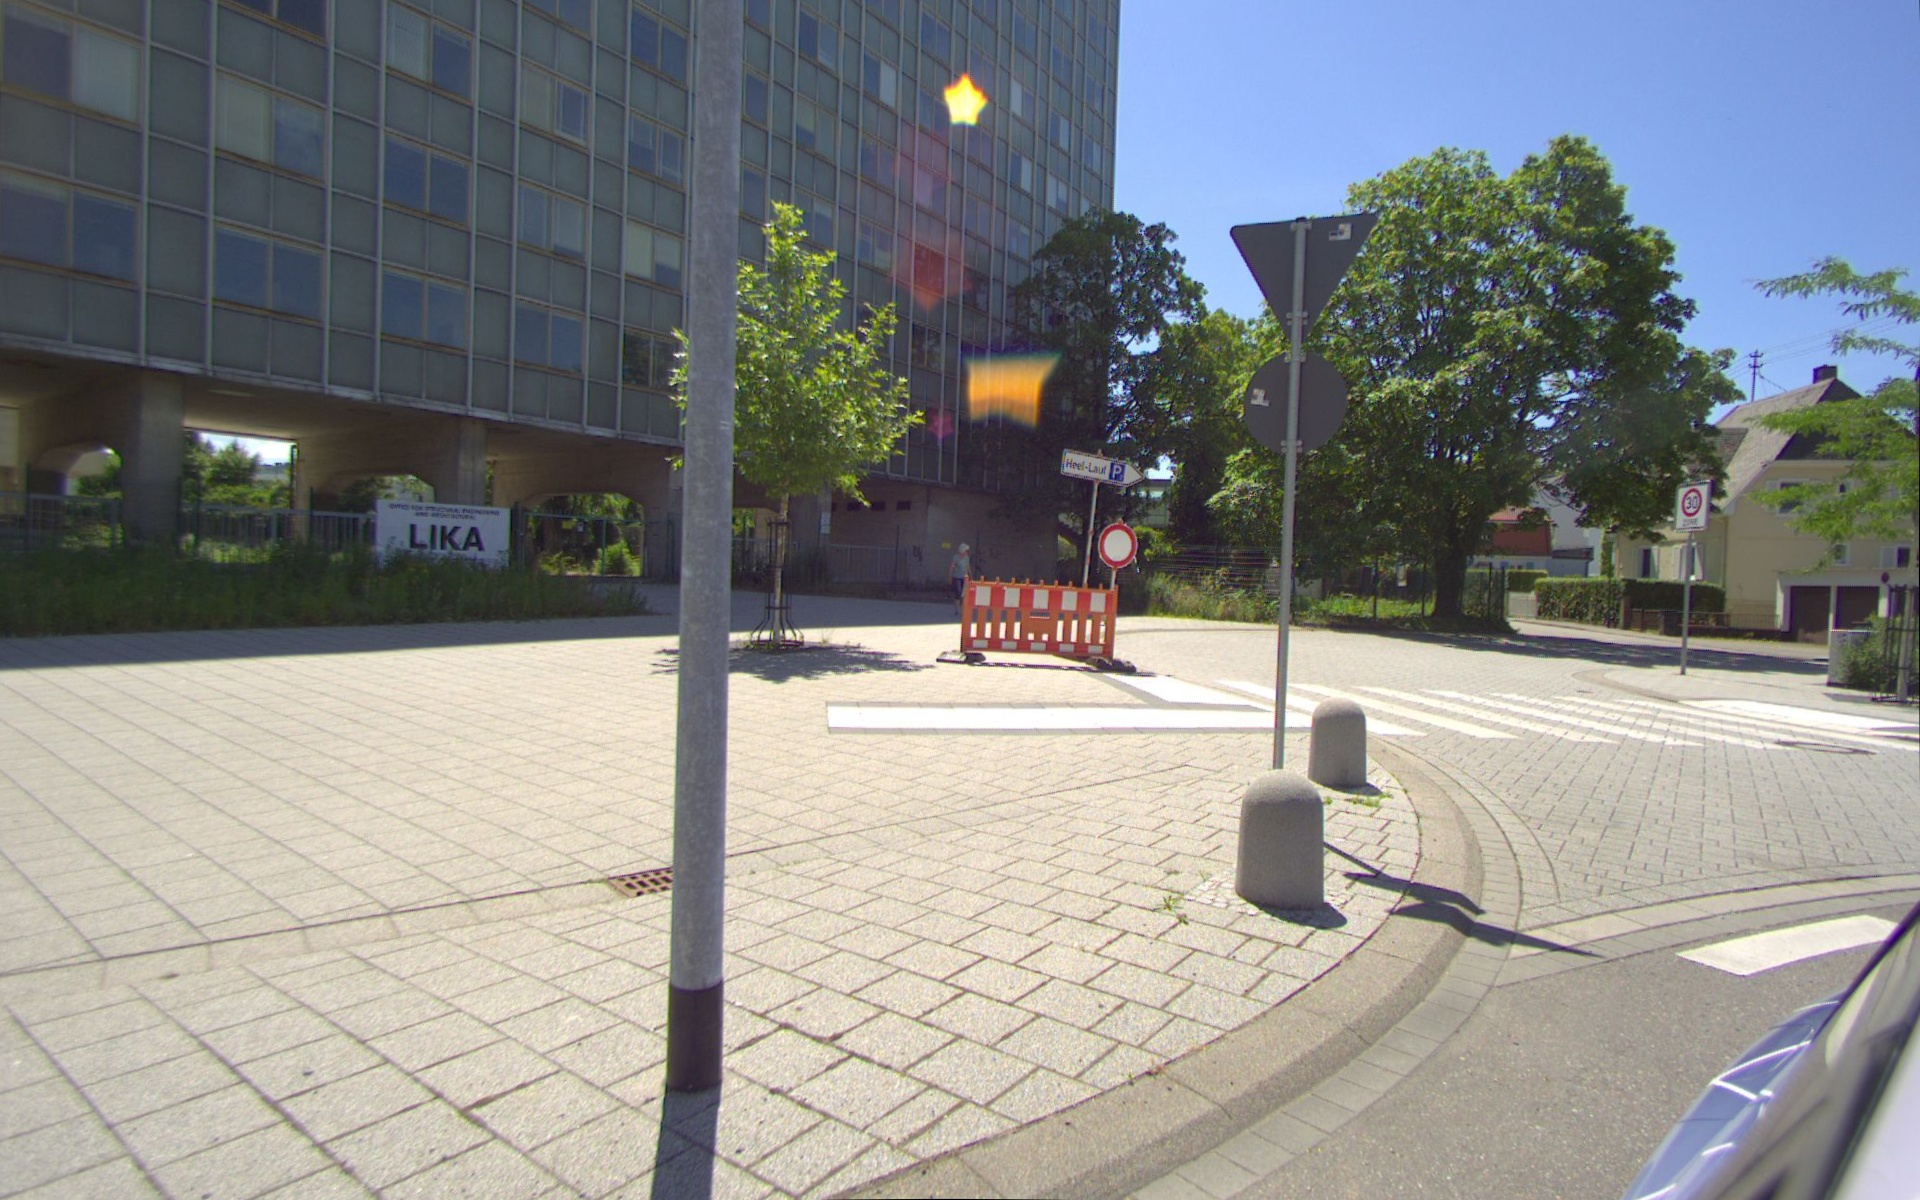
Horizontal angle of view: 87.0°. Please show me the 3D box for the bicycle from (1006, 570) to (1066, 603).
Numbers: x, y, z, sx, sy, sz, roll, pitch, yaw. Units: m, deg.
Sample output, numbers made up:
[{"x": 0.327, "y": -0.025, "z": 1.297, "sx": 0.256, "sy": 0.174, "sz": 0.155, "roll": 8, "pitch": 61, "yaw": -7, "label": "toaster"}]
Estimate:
[{"x": 2.292, "y": -0.412, "z": 30.633, "sx": 1.730, "sy": 0.918, "sz": 0.446, "roll": 2, "pitch": 2, "yaw": 17, "label": "bicycle"}]

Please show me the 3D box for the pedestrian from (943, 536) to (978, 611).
[{"x": 0.006, "y": -0.629, "z": 23.926, "sx": 0.485, "sy": 1.728, "sz": 0.557, "roll": 6, "pitch": 4, "yaw": 43, "label": "pedestrian"}]
